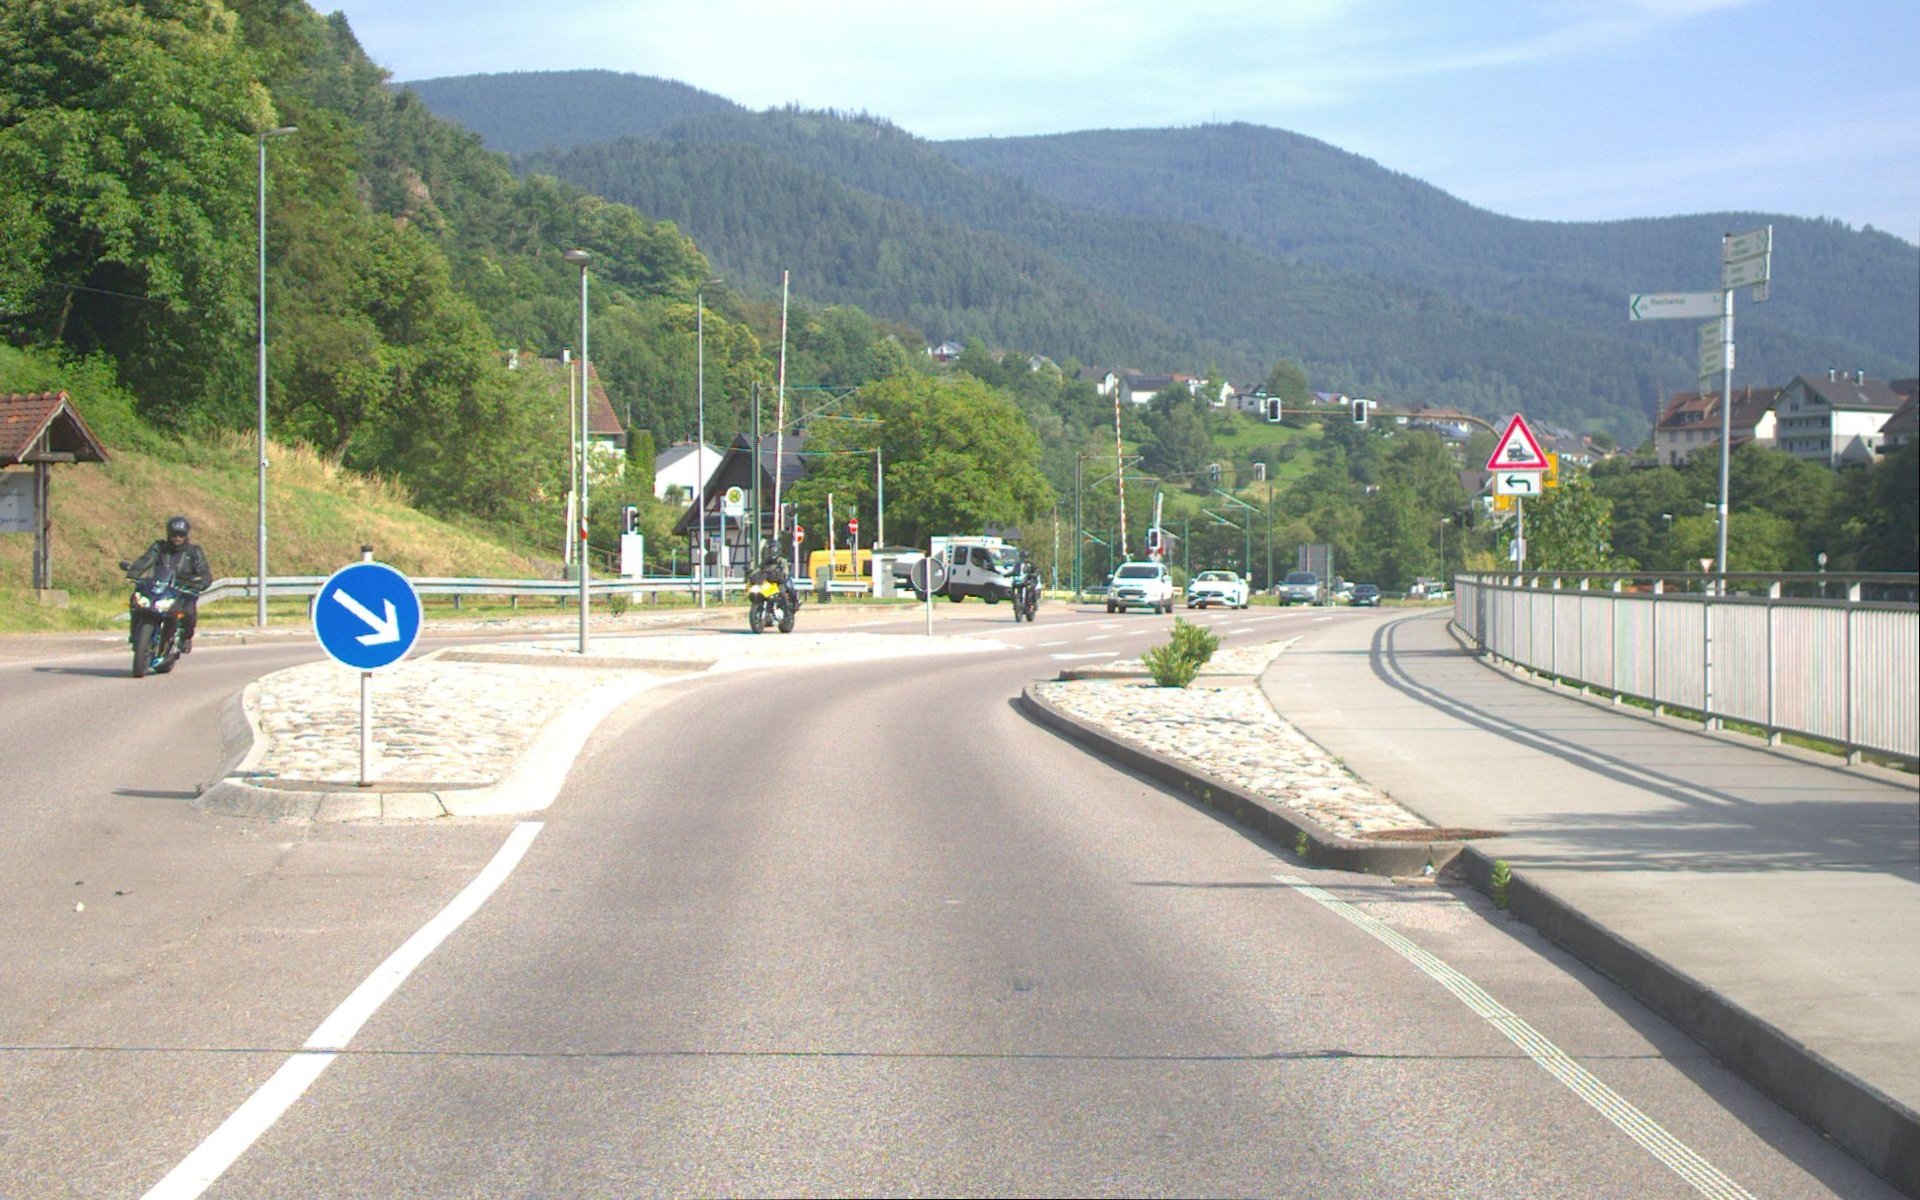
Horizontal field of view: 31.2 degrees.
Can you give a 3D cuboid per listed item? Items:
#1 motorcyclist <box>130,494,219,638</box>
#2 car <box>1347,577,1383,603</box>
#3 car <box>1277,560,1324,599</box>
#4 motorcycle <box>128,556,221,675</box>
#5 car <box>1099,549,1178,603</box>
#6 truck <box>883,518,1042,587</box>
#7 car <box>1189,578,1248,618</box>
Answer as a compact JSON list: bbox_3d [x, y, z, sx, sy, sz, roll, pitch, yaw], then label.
[{"bbox_3d":[-8.381,-0.365,36.696,0.905,1.513,0.847,0,1,-11],"label":"motorcyclist"},{"bbox_3d":[22.735,-0.545,192.828,1.774,1.412,3.783,1,1,10],"label":"car"},{"bbox_3d":[15.709,-0.946,158.472,1.759,1.516,4.202,1,-3,11],"label":"car"},{"bbox_3d":[-8.350,0.147,36.610,0.894,1.179,2.306,0,2,-11],"label":"motorcycle"},{"bbox_3d":[5.737,-0.779,110.089,1.765,1.555,3.998,1,3,14],"label":"car"},{"bbox_3d":[0.048,-1.735,124.413,5.999,2.258,1.995,3,2,44],"label":"truck"},{"bbox_3d":[9.552,-0.088,126.723,1.782,1.395,4.825,2,1,8],"label":"car"}]
